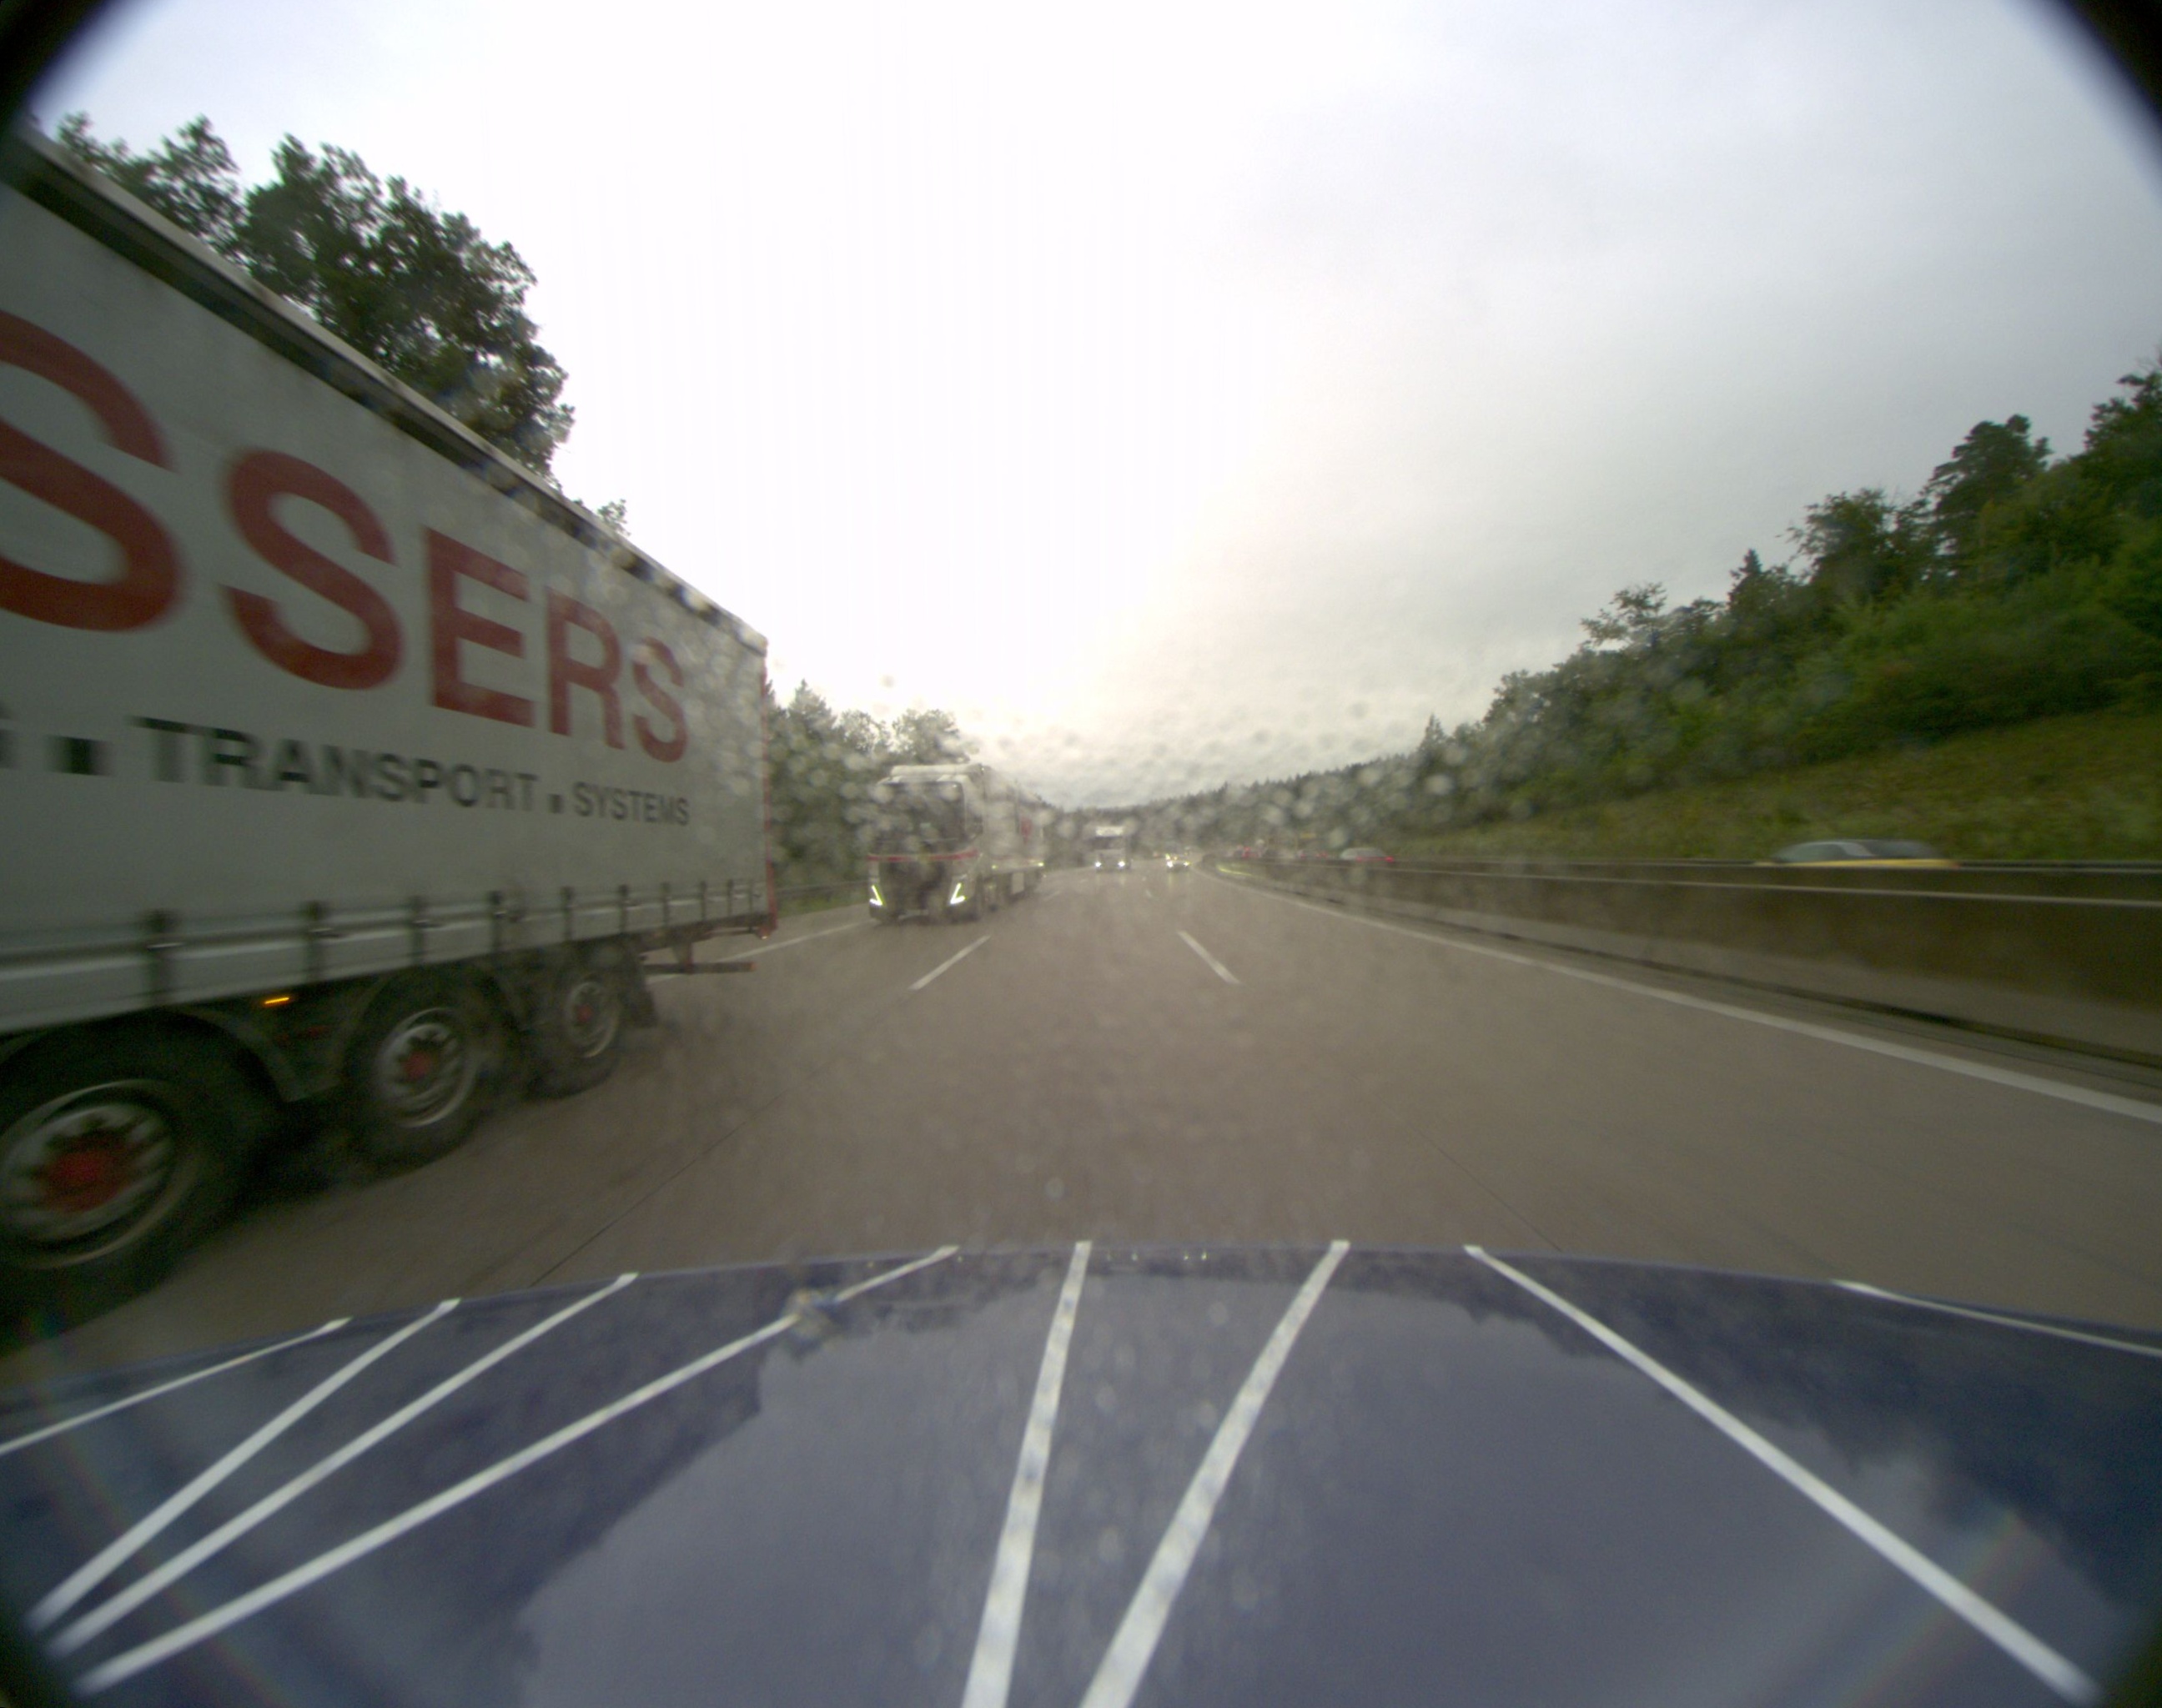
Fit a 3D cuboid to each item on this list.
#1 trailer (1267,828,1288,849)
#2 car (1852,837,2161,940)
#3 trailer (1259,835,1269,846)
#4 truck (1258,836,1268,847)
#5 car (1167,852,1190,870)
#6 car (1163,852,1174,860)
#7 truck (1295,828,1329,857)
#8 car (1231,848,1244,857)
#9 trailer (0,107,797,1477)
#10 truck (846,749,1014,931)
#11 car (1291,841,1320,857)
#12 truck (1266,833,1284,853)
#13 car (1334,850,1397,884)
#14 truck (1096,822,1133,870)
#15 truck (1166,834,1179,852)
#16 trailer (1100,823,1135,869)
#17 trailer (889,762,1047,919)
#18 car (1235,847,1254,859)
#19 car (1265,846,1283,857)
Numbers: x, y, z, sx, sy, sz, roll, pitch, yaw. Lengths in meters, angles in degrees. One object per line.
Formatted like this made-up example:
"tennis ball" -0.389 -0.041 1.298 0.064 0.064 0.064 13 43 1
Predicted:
"trailer" 38.429 -2.944 149.048 3.019 3.852 13.711 -2 0 11
"car" 16.408 0.493 13.212 1.578 1.478 4.283 -2 0 -1
"trailer" 61.278 -4.525 254.136 2.550 3.645 8.235 -2 0 10
"truck" 62.581 -4.320 261.624 2.568 3.645 10.499 -2 0 10
"car" 8.216 0.591 64.186 1.716 1.399 4.938 -2 0 6
"car" 15.439 0.331 133.904 1.715 1.399 4.939 -2 0 9
"truck" 27.899 -1.385 92.150 2.626 3.277 9.388 -2 0 9
"car" 26.526 -0.276 129.028 1.657 1.338 4.087 -2 0 5
"trailer" -4.304 -0.176 1.500 2.376 3.931 12.521 -1 0 2
"truck" -3.733 -0.318 20.431 2.805 4.080 5.969 -2 0 4
"car" 19.688 -0.462 66.768 1.657 1.338 4.087 -2 0 4
"truck" 39.807 -2.216 155.778 3.031 3.852 8.123 -2 0 11
"car" 13.961 0.609 37.505 1.868 1.539 4.001 -2 0 5
"truck" 3.038 -0.689 67.297 2.727 4.017 5.754 -3 0 6
"truck" 22.844 -2.725 190.578 2.736 4.127 8.625 -2 0 5
"trailer" 3.719 -0.704 74.055 2.685 4.017 13.710 -1 0 6
"trailer" -3.337 -0.392 27.167 2.740 4.080 13.684 -2 0 3
"car" 19.695 -0.131 91.477 1.657 1.338 4.087 -2 0 5
"car" 25.532 -0.381 100.700 1.808 1.338 4.768 -2 0 7
